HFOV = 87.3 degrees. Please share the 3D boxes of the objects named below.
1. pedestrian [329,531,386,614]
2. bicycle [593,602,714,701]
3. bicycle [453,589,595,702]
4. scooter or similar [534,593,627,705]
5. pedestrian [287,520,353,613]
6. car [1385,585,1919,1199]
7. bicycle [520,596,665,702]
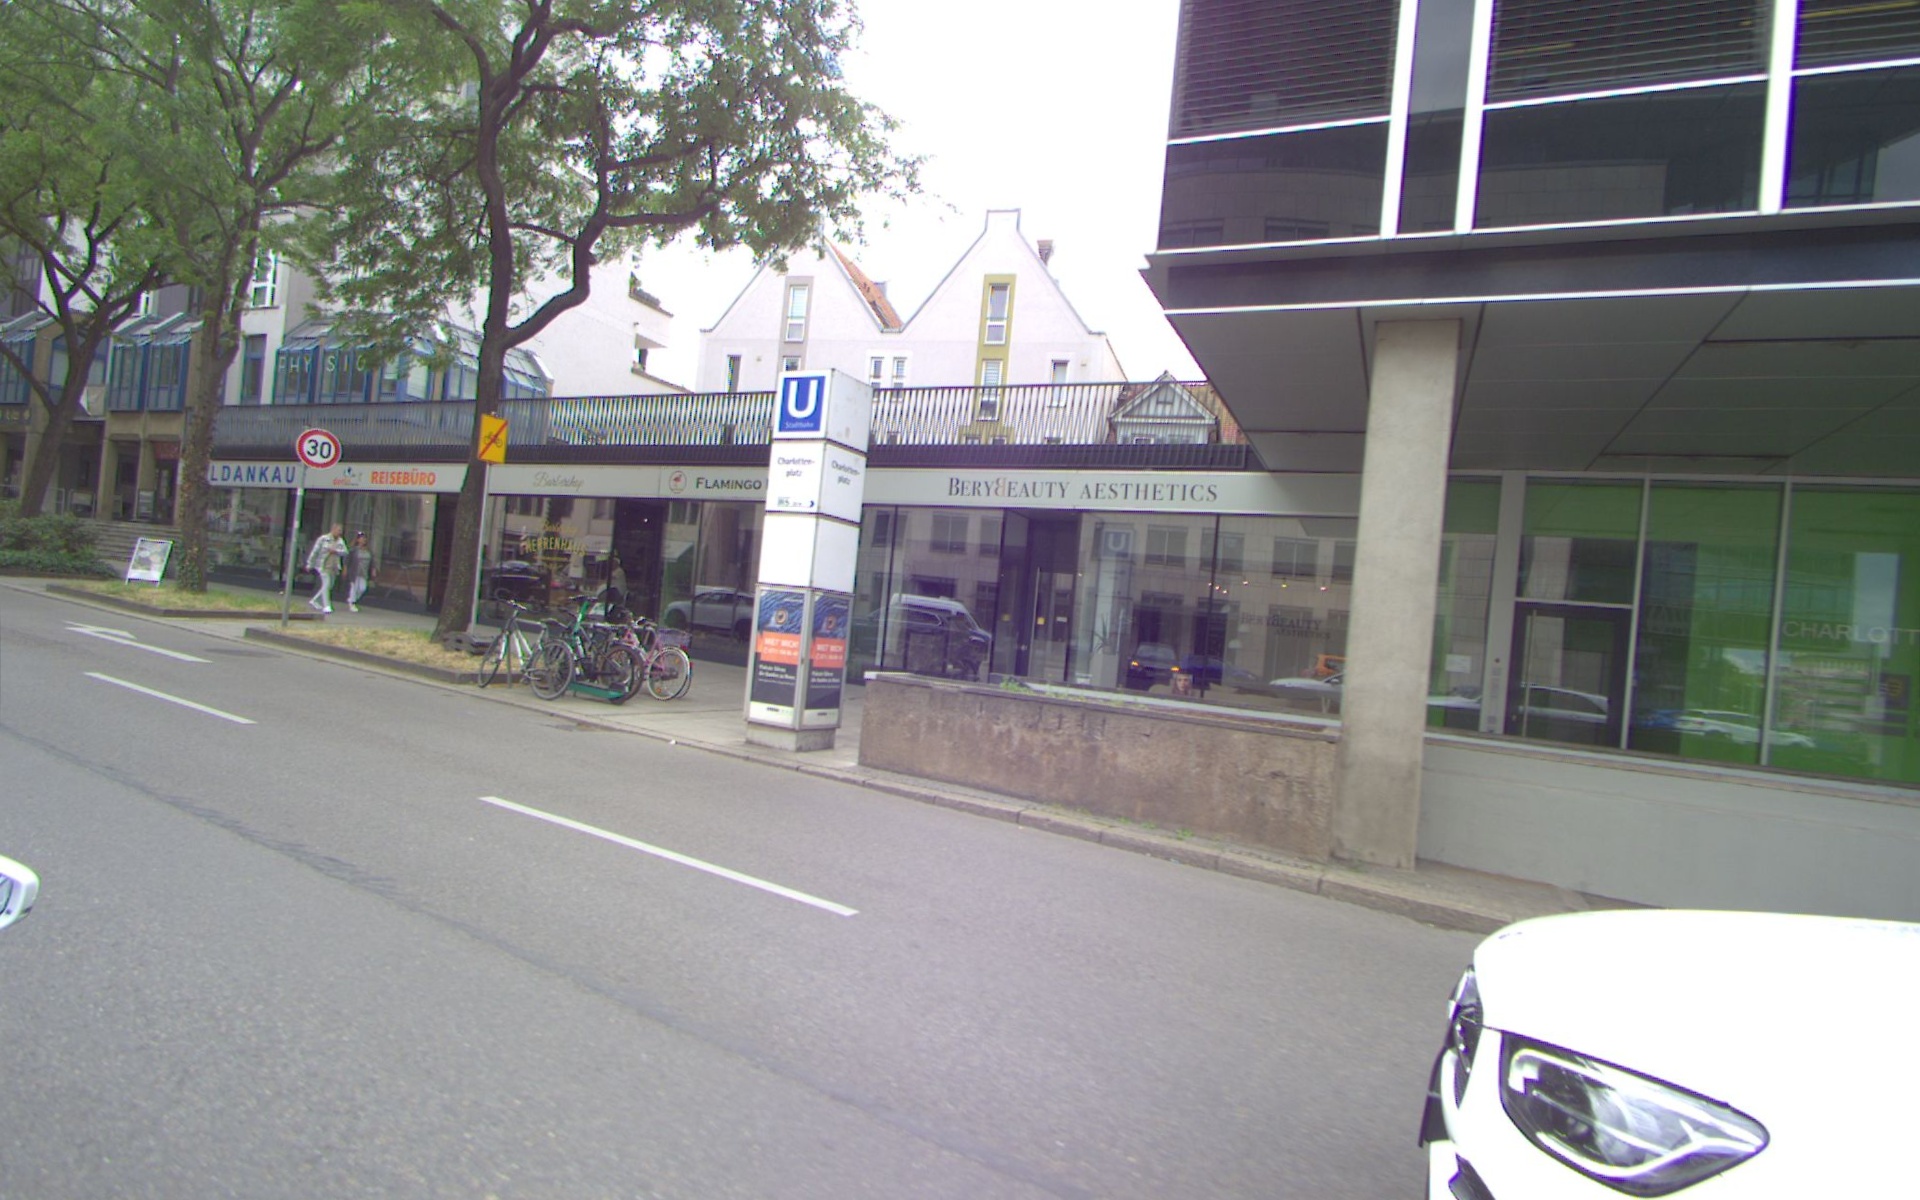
[{"bbox_3d":[-12.801,-0.583,21.388,0.744,1.649,0.597,7,1,24],"label":"pedestrian"},{"bbox_3d":[-4.214,0.695,13.780,1.660,1.146,0.490,6,0,31],"label":"bicycle"},{"bbox_3d":[-5.341,0.538,12.280,1.812,1.146,0.490,6,0,29],"label":"bicycle"},{"bbox_3d":[-4.726,0.599,12.531,0.978,1.267,0.306,6,0,17],"label":"scooter or similar"},{"bbox_3d":[-13.090,-0.676,20.567,0.924,1.776,0.597,7,1,24],"label":"pedestrian"},{"bbox_3d":[2.999,1.046,1.319,4.263,1.667,1.803,6,1,32],"label":"car"},{"bbox_3d":[-4.795,0.620,13.089,1.853,1.146,0.491,6,0,24],"label":"bicycle"}]
